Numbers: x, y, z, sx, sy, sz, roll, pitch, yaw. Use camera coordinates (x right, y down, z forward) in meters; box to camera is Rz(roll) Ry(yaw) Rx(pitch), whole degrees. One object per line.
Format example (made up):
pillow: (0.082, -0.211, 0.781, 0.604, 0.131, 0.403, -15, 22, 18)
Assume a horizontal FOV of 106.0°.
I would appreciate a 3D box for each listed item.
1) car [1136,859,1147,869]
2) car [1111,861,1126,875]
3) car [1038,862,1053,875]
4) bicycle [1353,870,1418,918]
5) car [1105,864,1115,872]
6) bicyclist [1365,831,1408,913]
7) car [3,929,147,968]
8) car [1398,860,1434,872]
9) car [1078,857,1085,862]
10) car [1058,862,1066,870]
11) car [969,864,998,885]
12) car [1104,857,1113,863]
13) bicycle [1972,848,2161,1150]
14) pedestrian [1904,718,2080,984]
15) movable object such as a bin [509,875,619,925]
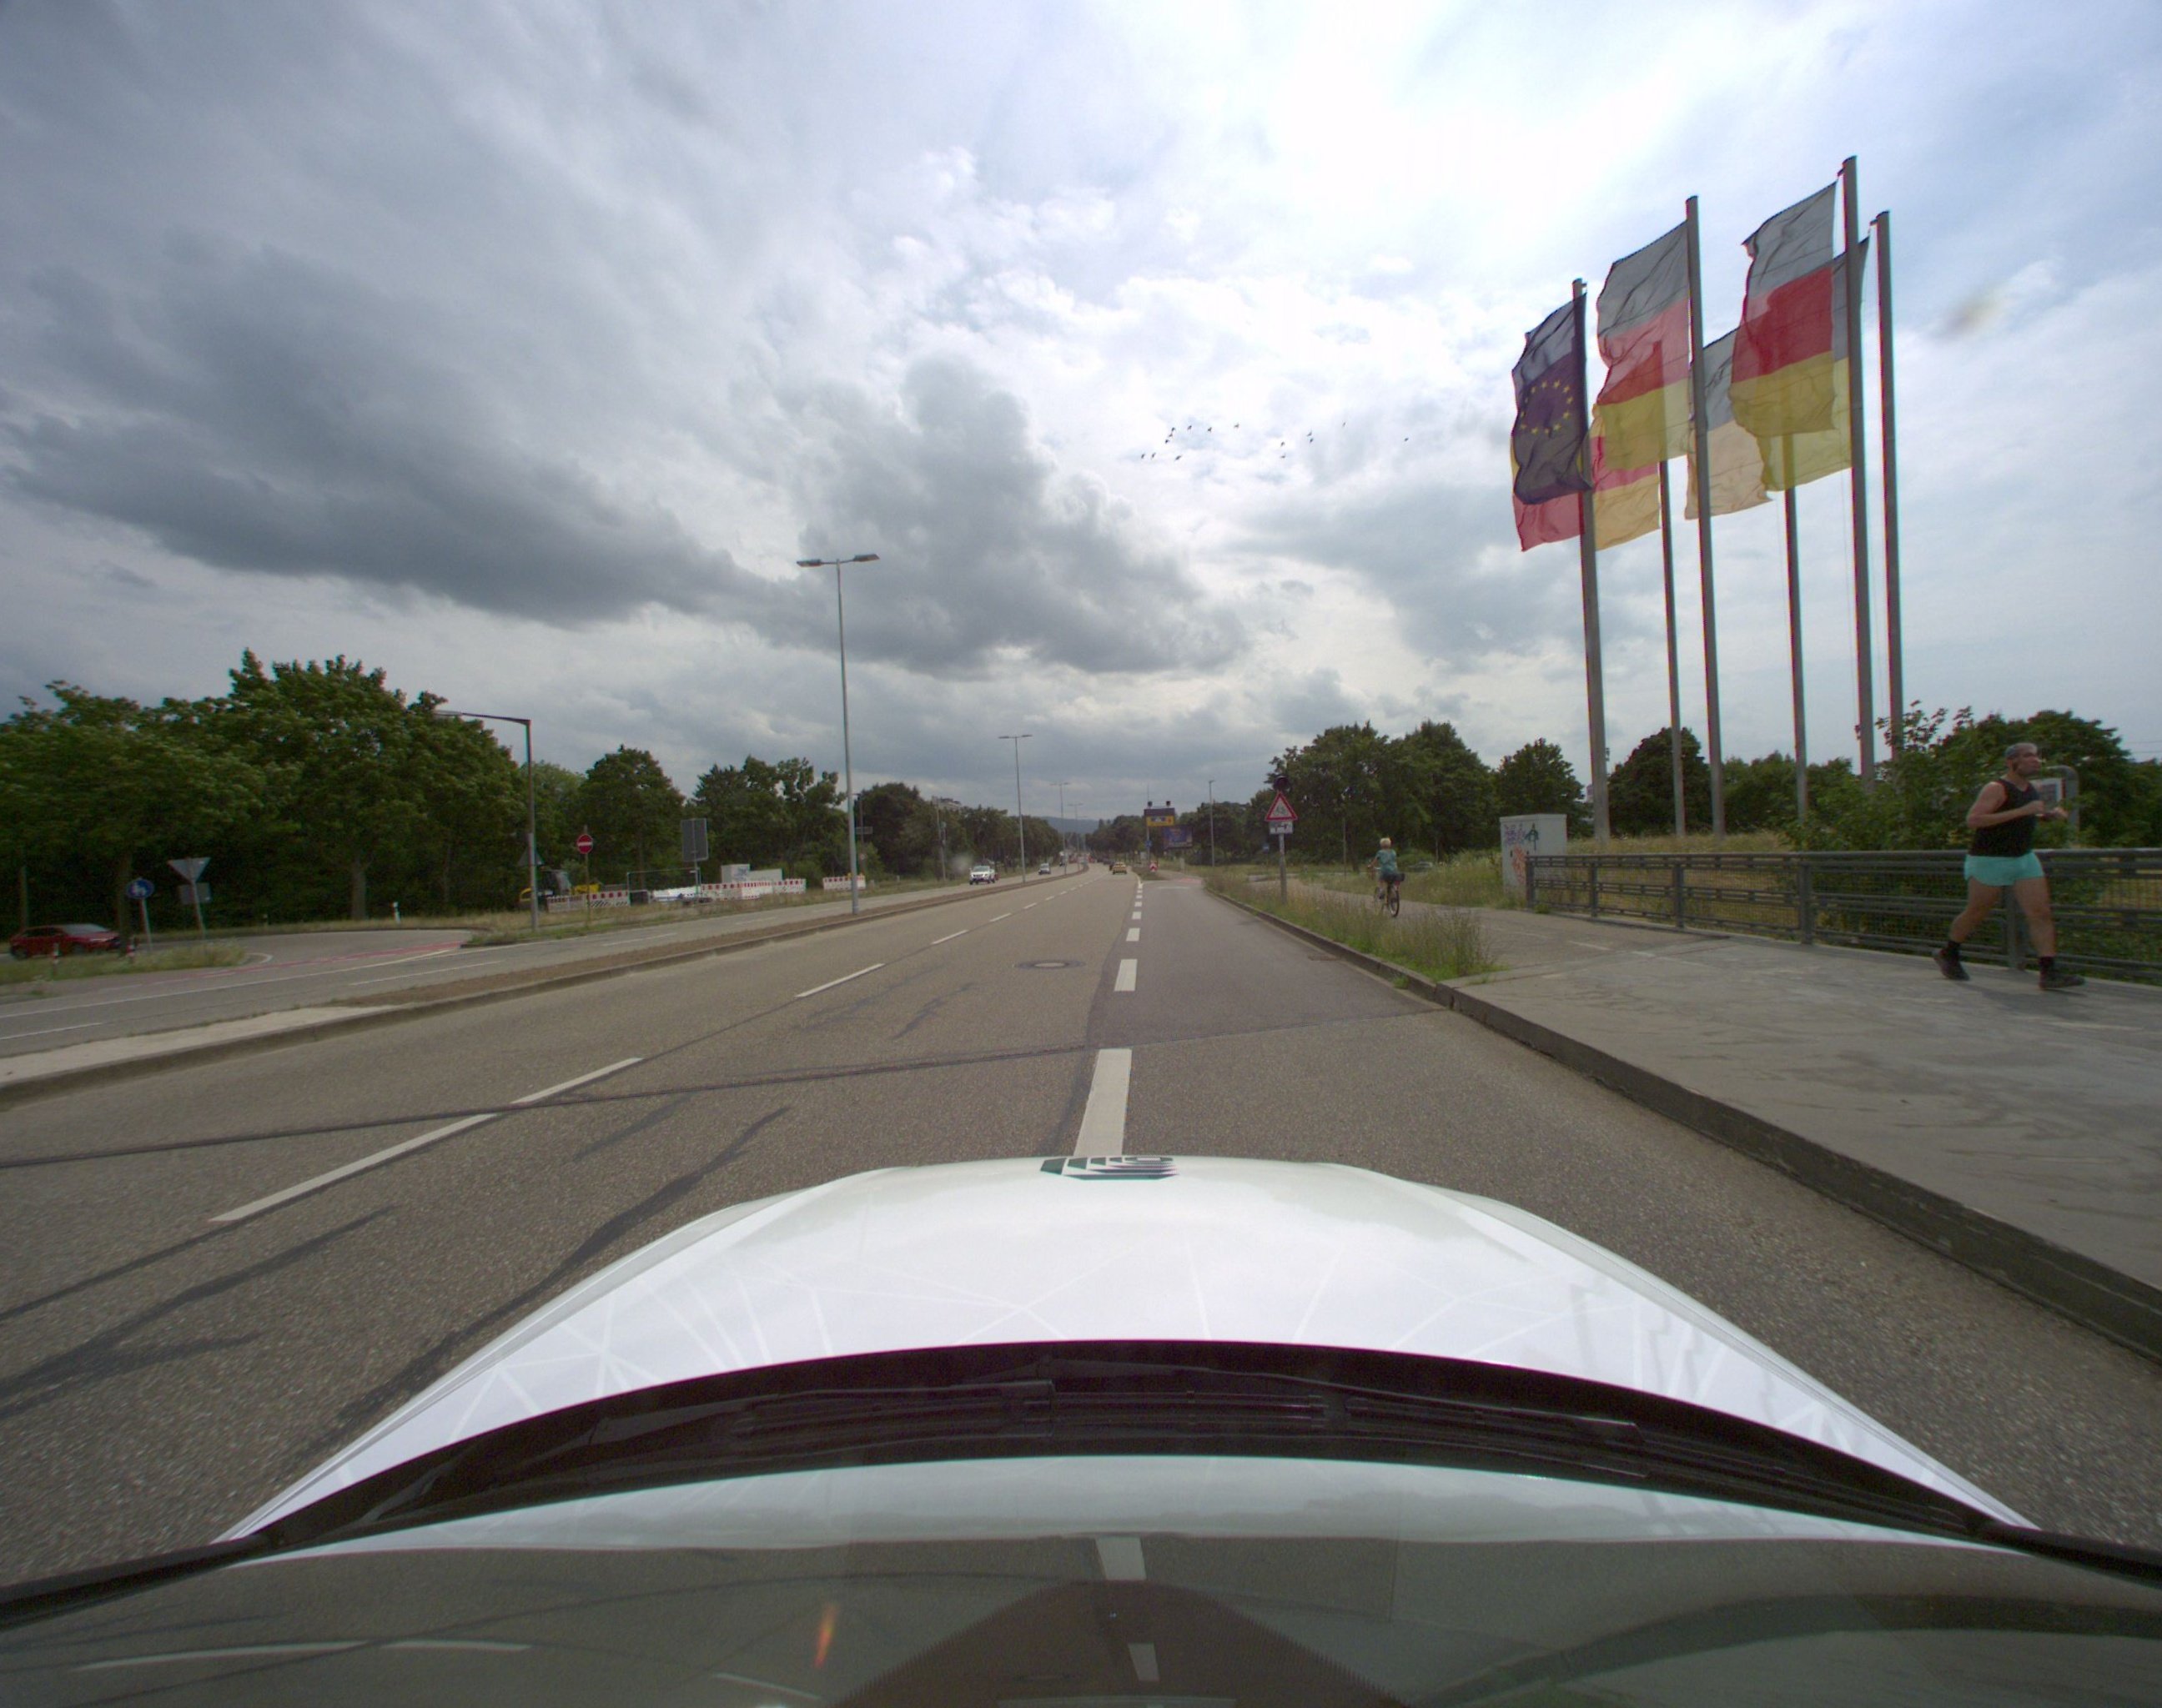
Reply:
car: (11.673, 1.928, 157.219, 2.006, 1.670, 4.001, -2, 0, 1)
car: (4.668, 1.755, 101.861, 1.787, 1.562, 4.001, -2, 1, 1)
car: (-5.770, 2.347, 133.340, 1.895, 1.809, 4.543, -2, 1, 3)
bicycle: (6.471, 0.827, 17.429, 0.621, 0.888, 2.155, -2, 0, 2)
car: (5.072, 2.441, 144.757, 1.661, 1.269, 4.001, -2, 1, 1)
bicyclist: (6.432, 0.365, 17.164, 0.619, 1.666, 0.669, -2, 0, 2)
car: (-44.408, 4.146, 35.990, 4.264, 1.373, 1.783, -2, 0, 3)
car: (43.641, 1.548, 106.092, 3.950, 1.464, 1.783, -2, 1, 44)
car: (0.145, 1.632, 258.452, 1.985, 1.431, 4.692, -3, 0, 3)
car: (-5.378, 3.344, 226.998, 1.986, 1.811, 4.799, -3, 0, 1)
car: (-8.658, 1.833, 72.820, 1.687, 1.629, 4.389, -2, 1, 4)
car: (7.577, 1.685, 224.176, 2.198, 1.684, 4.002, -2, 0, 2)
bicycle: (4.668, 0.587, 2.731, 0.691, 1.192, 2.462, -3, 0, 2)
pedestrian: (7.319, -0.024, 6.574, 0.624, 2.013, 0.668, -2, 0, 4)
movable object such as a bin: (-28.442, 2.502, 44.950, 4.574, 2.397, 1.995, -2, 0, -7)
